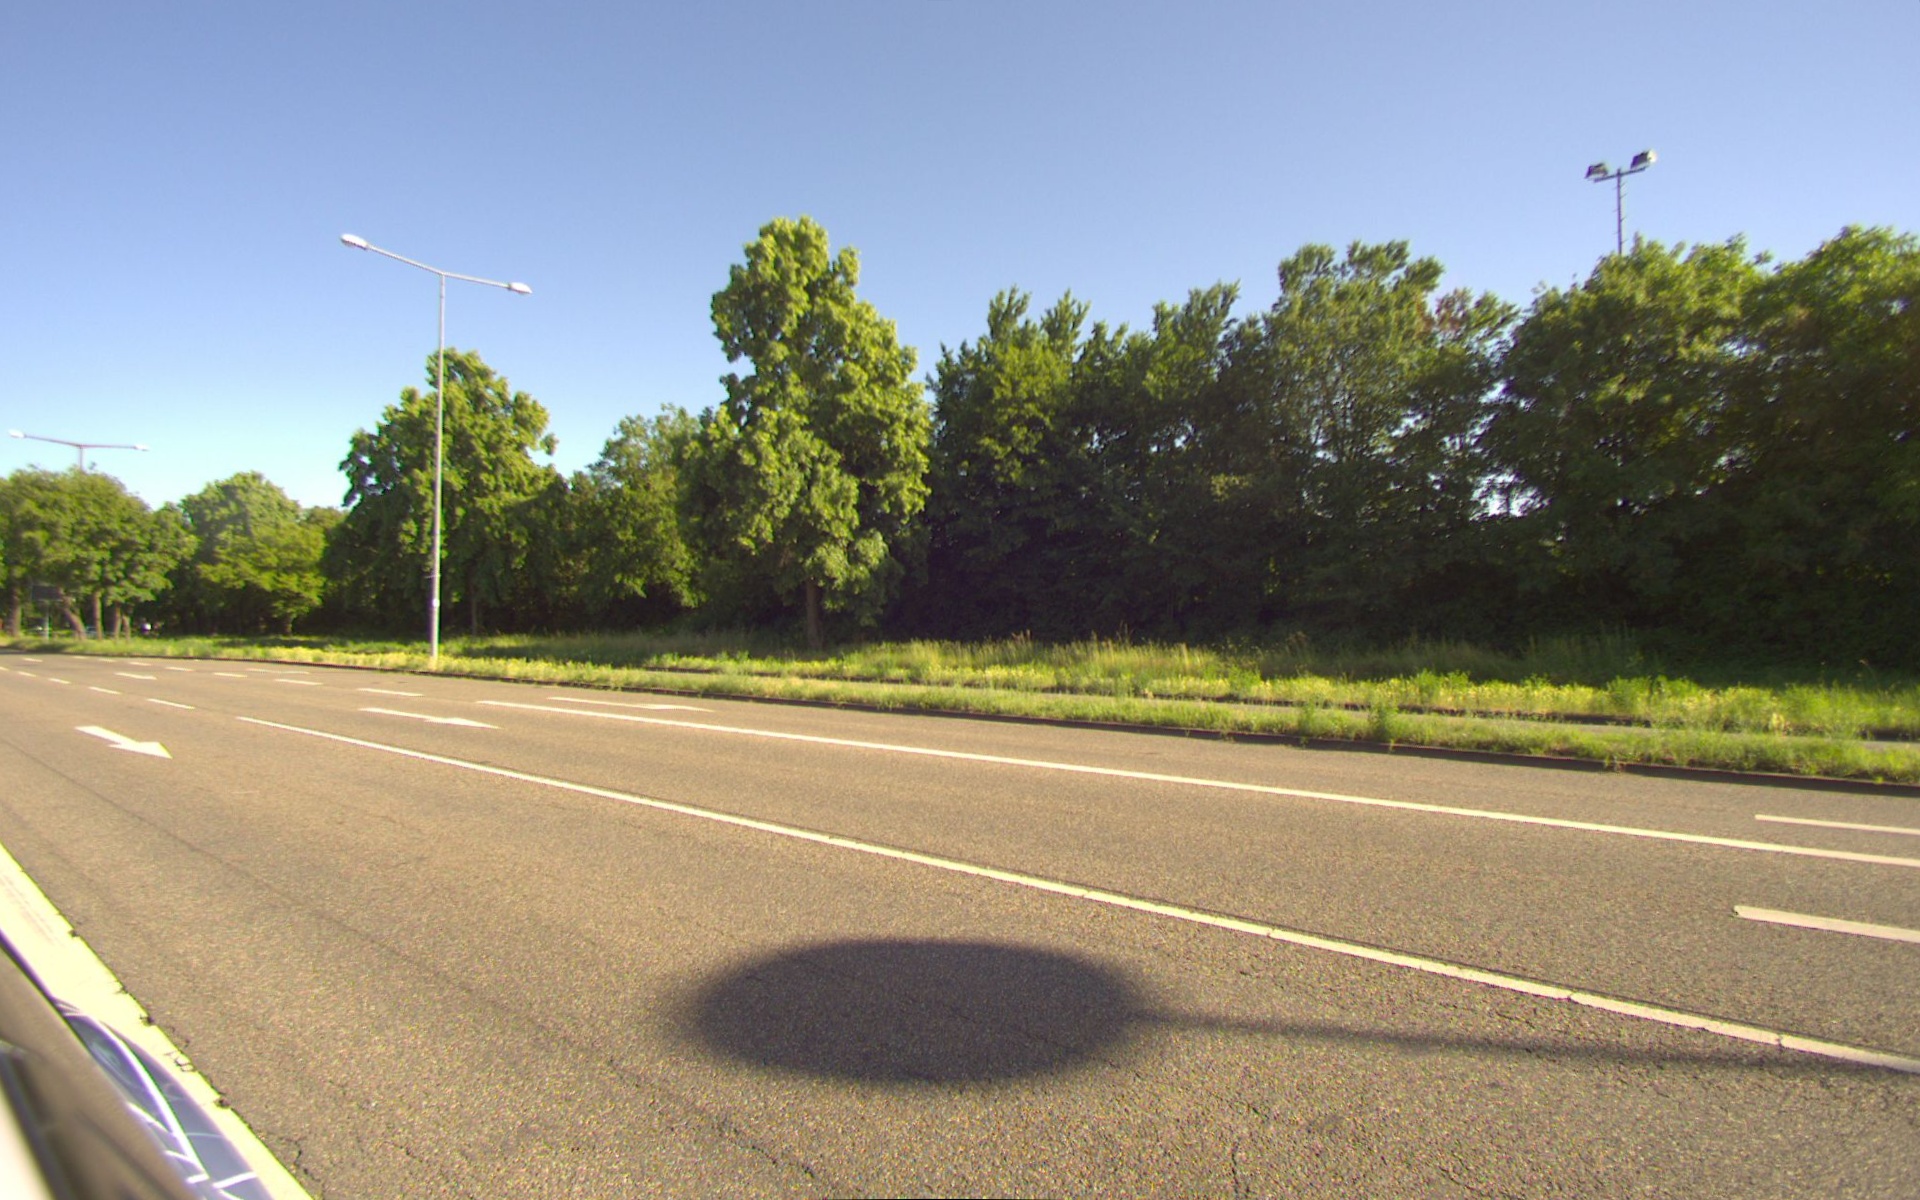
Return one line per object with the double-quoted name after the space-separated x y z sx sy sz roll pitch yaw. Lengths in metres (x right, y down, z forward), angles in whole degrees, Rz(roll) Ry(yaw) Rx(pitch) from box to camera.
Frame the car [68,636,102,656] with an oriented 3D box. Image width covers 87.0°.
-83.537 4.375 96.650 4.406 1.716 1.892 0 0 42 "car"
